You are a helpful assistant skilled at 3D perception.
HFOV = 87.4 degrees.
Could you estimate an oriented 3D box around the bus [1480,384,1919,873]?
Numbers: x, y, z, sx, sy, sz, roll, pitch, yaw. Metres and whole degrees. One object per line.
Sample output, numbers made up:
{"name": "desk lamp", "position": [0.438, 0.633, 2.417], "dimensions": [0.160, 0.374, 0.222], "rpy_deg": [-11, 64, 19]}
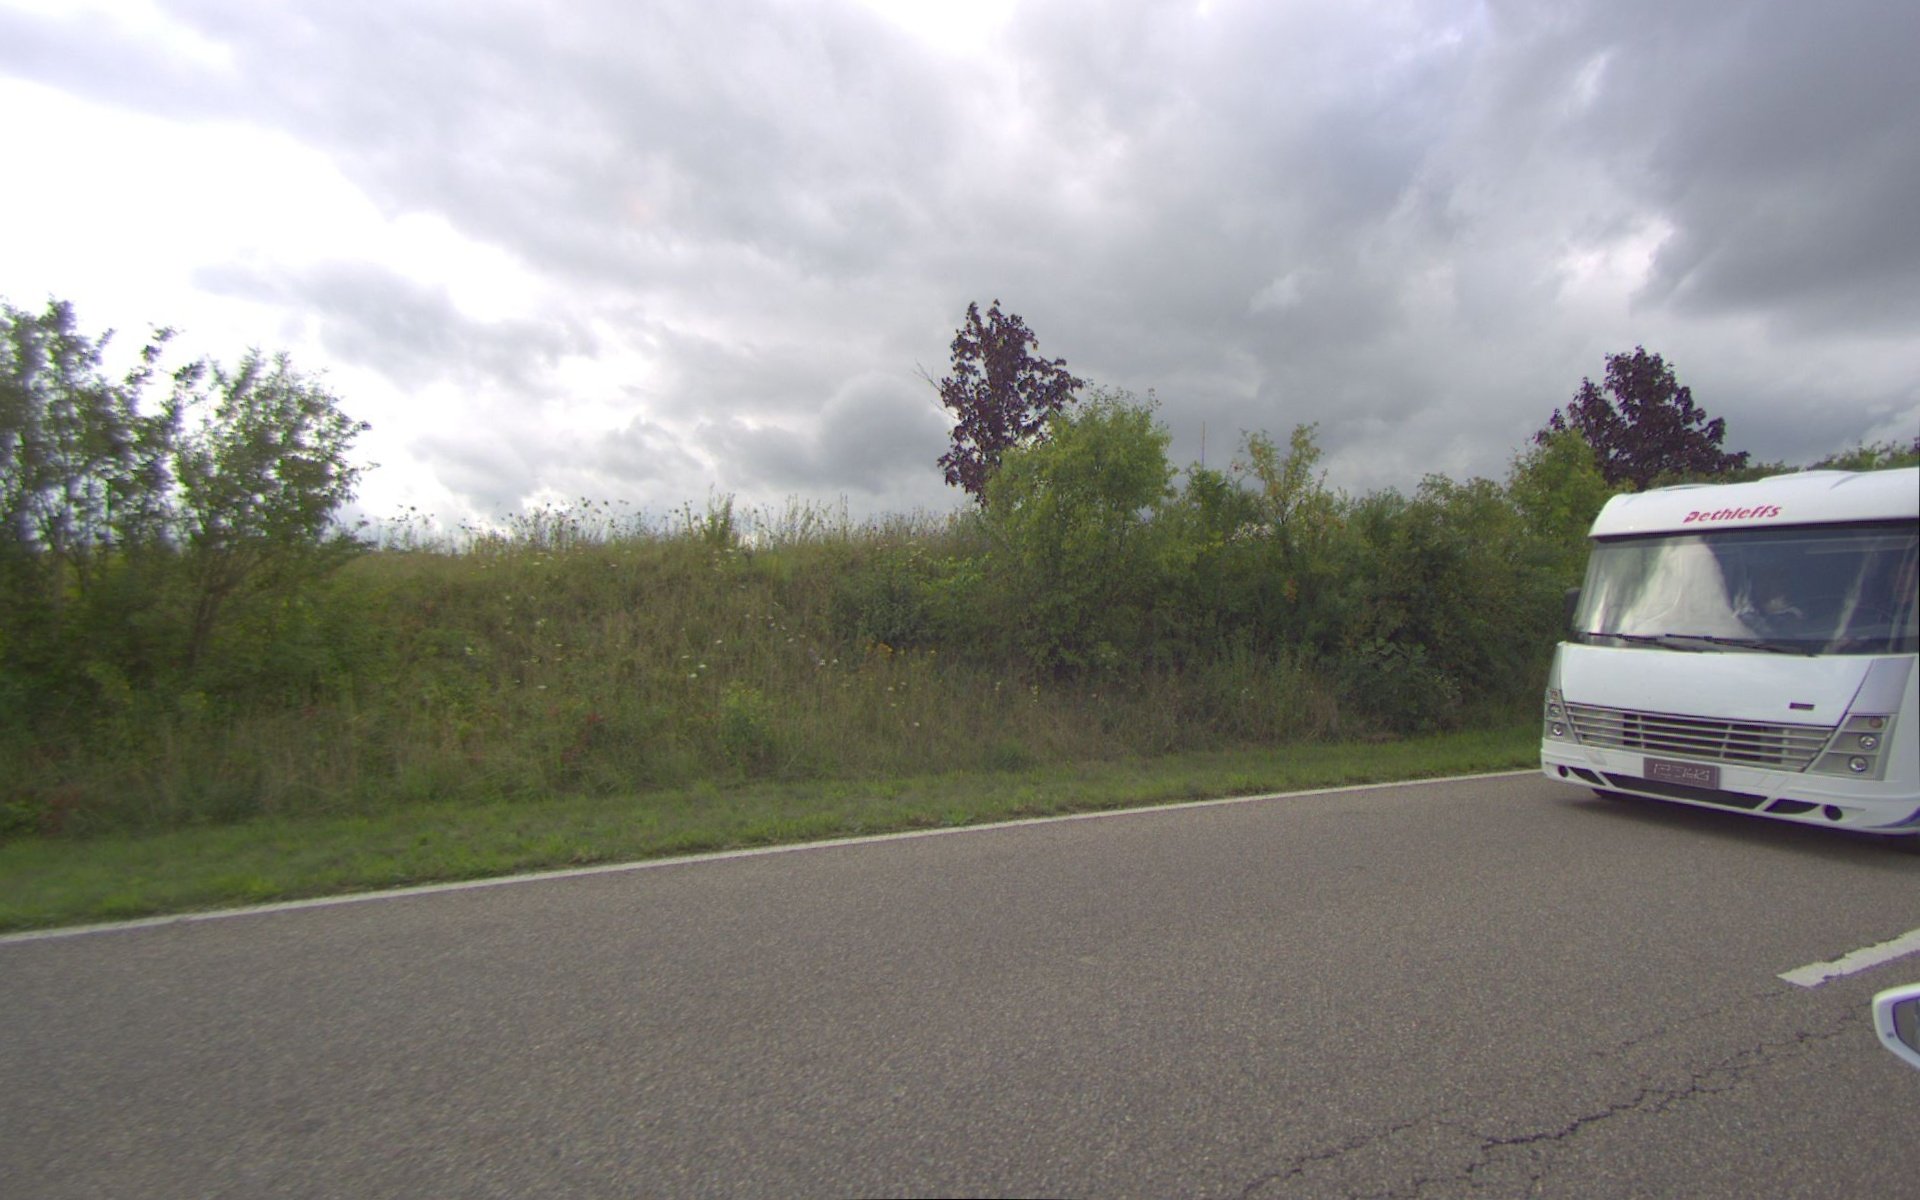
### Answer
{"name": "bus", "position": [8.336, 0.260, 8.604], "dimensions": [8.319, 2.747, 2.467], "rpy_deg": [1, -1, -26]}
